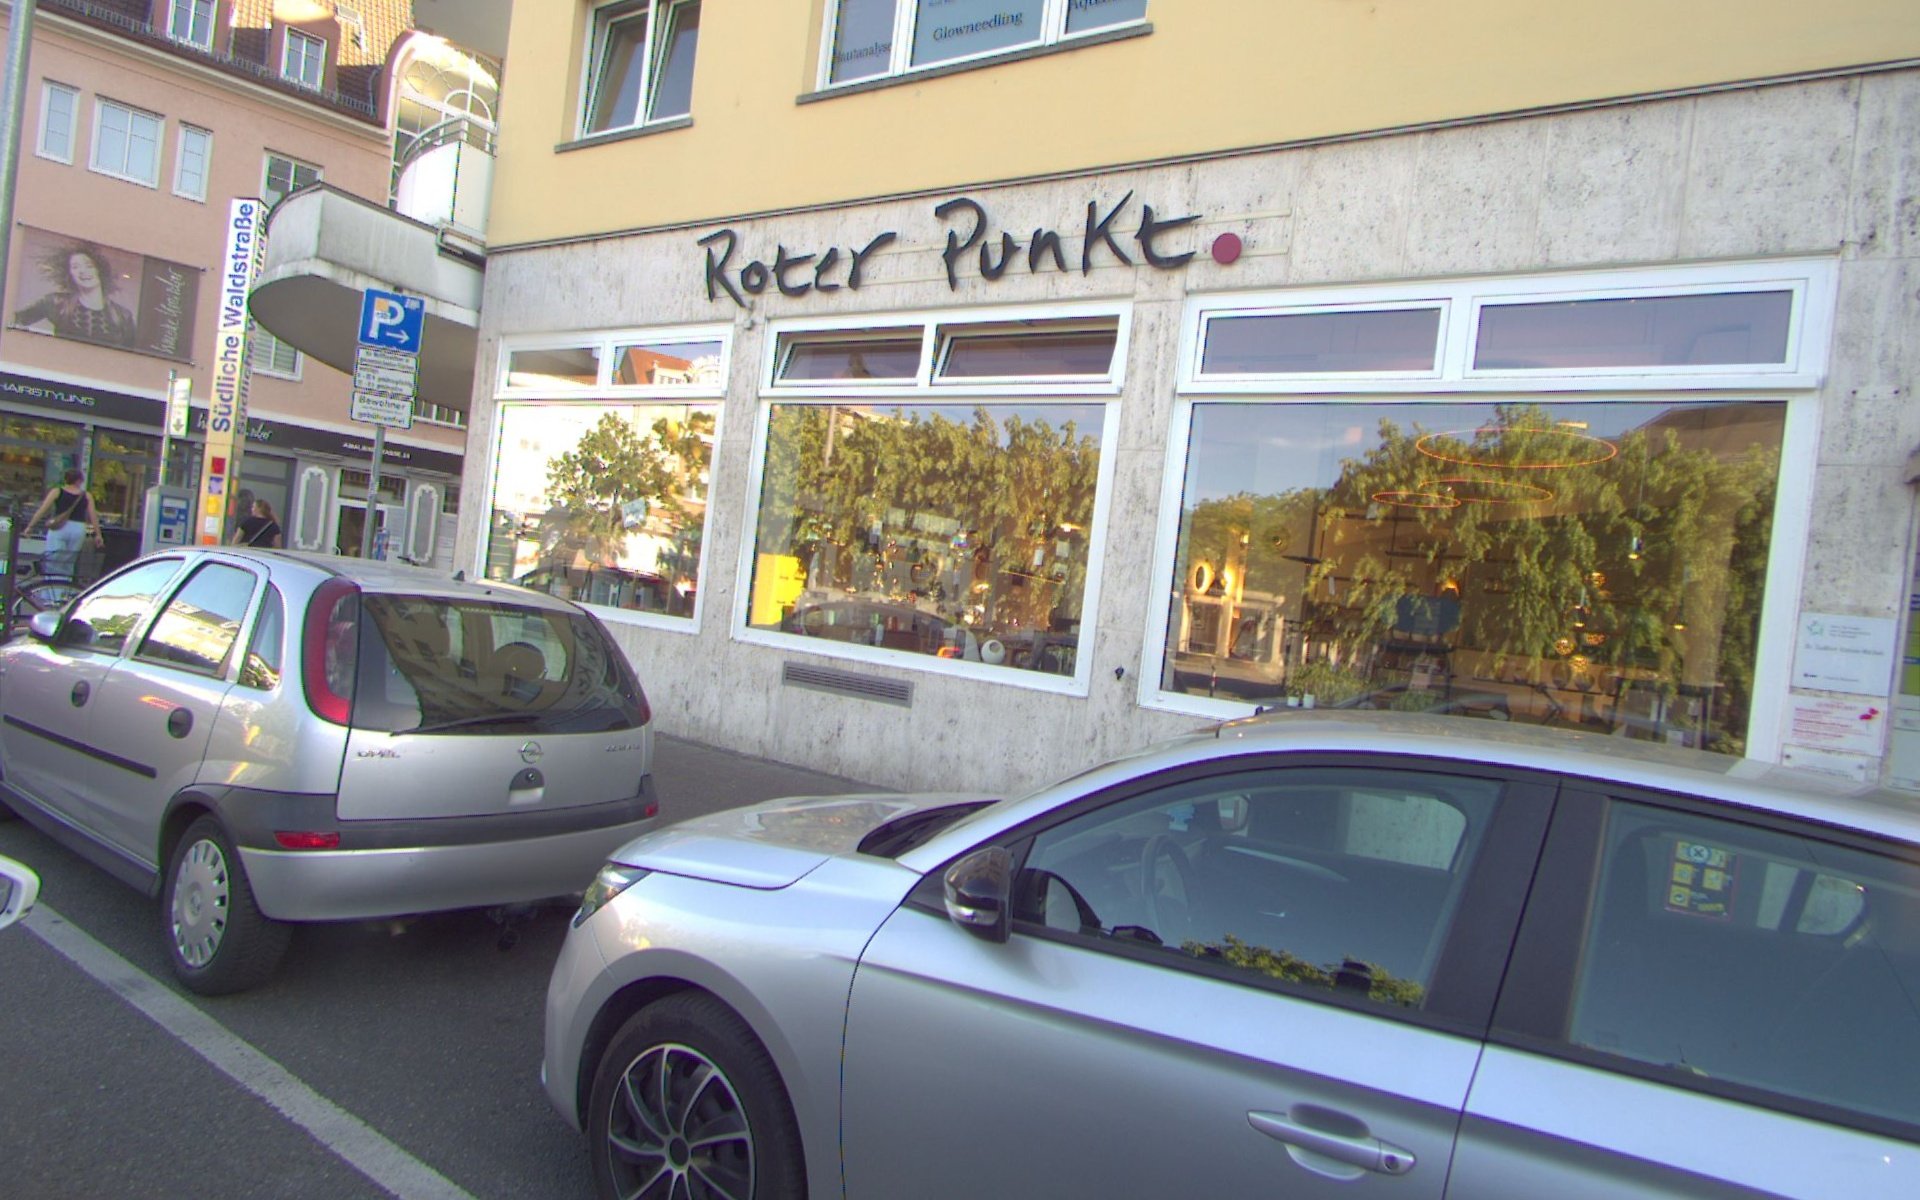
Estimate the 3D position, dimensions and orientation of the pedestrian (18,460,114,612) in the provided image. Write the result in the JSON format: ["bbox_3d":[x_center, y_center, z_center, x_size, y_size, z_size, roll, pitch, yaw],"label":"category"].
[{"bbox_3d":[-11.565,-0.818,13.015,0.879,1.875,0.680,6,3,33],"label":"pedestrian"}]

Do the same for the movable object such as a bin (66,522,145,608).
[{"bbox_3d":[-11.940,-0.485,14.056,0.716,1.117,0.636,7,2,35],"label":"movable object such as a bin"}]

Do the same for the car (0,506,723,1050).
[{"bbox_3d":[-2.973,0.484,4.477,3.520,1.442,1.587,6,-2,32],"label":"car"}]

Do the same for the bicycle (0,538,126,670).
[{"bbox_3d":[-8.182,0.003,8.269,0.642,1.057,1.884,7,0,33],"label":"bicycle"}]

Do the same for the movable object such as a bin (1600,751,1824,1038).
[{"bbox_3d":[3.356,1.266,4.563,0.639,1.035,0.738,6,-1,31],"label":"movable object such as a bin"}]

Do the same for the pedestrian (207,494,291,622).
[{"bbox_3d":[-10.358,-0.605,14.651,0.776,1.777,0.720,6,2,37],"label":"pedestrian"}]

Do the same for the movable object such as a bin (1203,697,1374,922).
[{"bbox_3d":[1.808,1.097,5.493,0.639,1.035,0.738,6,-1,31],"label":"movable object such as a bin"}]

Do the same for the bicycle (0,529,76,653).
[{"bbox_3d":[-9.073,-0.151,8.813,0.642,1.072,1.816,7,-1,33],"label":"bicycle"}]

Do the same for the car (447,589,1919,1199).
[{"bbox_3d":[0.763,0.944,2.297,3.624,1.453,1.587,6,-2,30],"label":"car"}]
